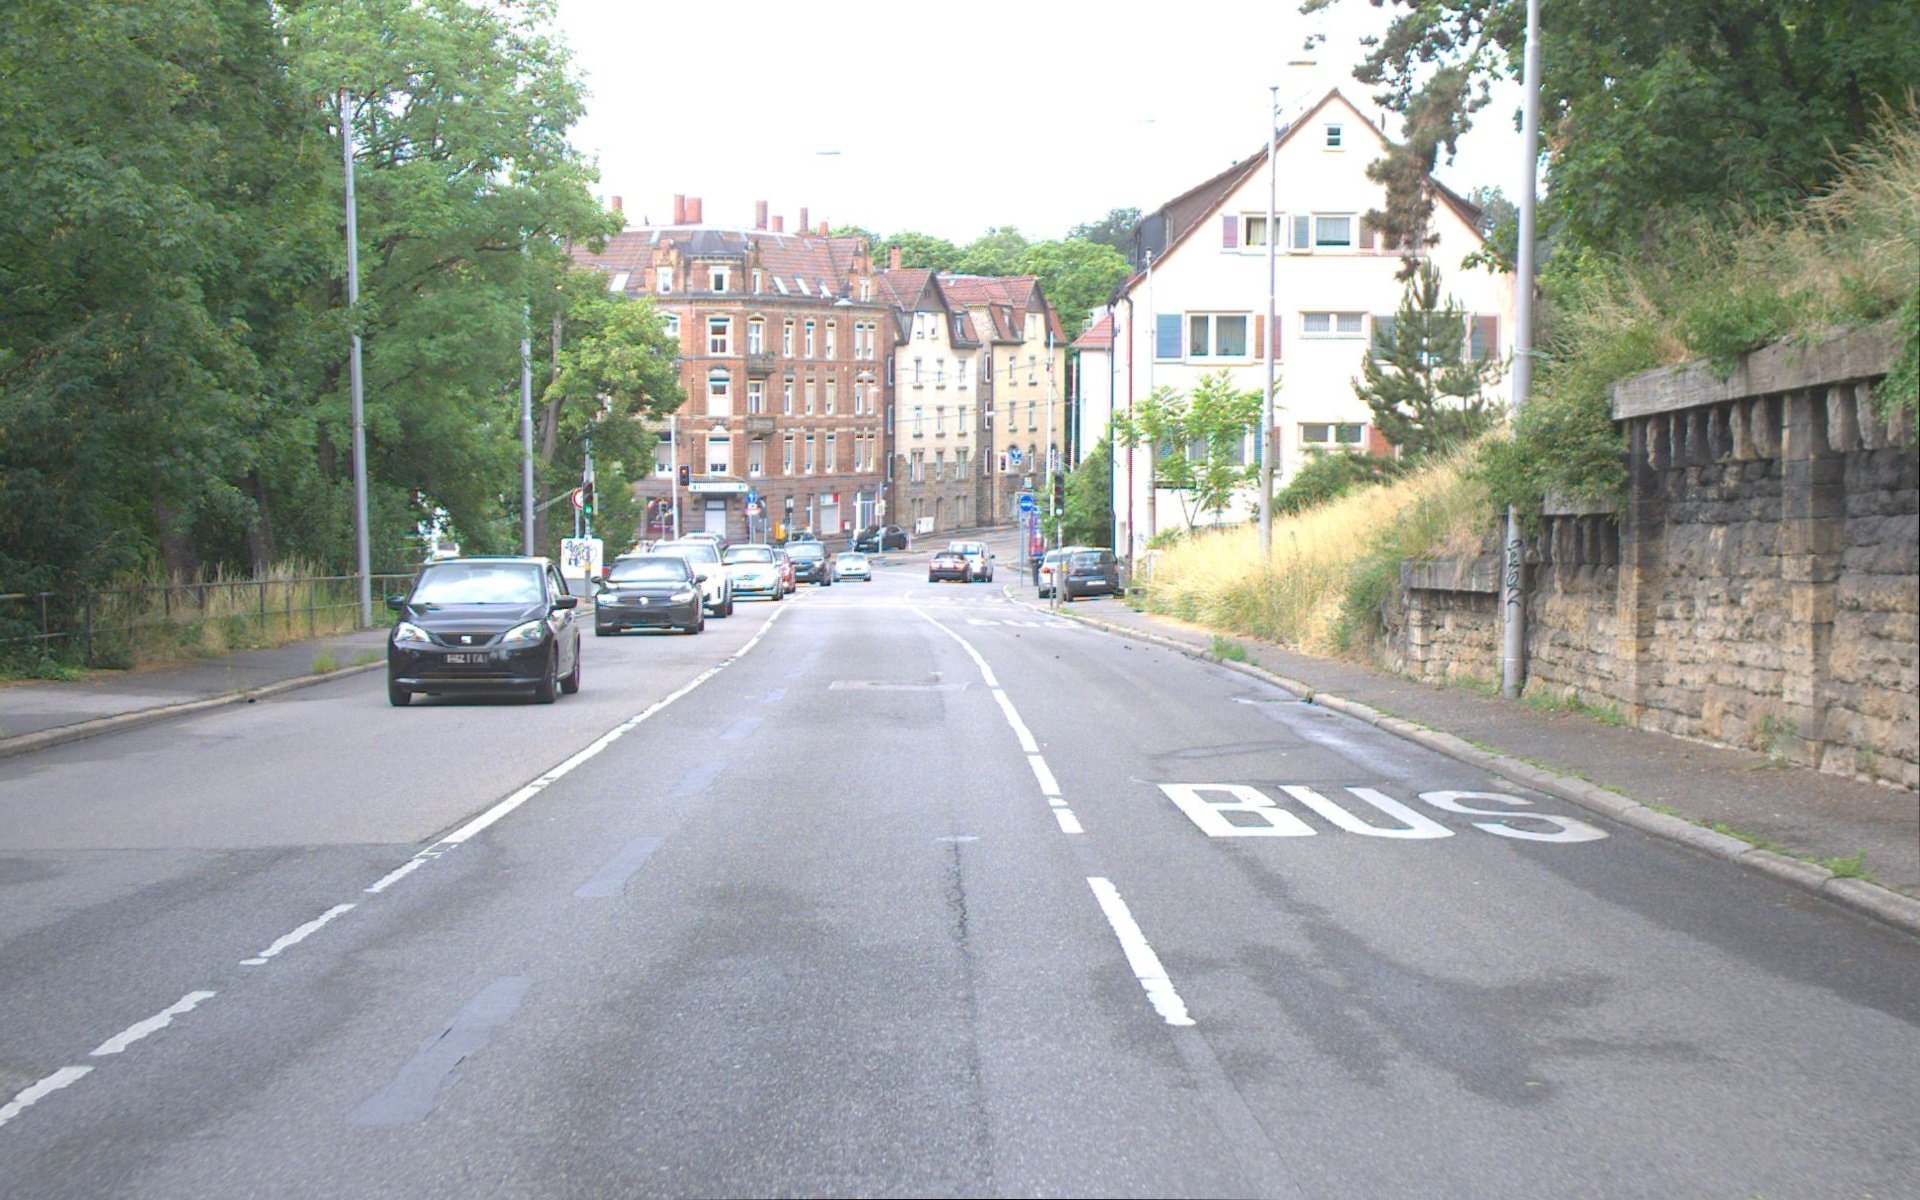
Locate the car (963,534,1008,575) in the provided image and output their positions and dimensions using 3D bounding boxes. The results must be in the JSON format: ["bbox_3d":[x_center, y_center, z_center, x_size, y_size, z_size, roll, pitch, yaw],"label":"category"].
[{"bbox_3d":[1.224,-2.163,163.470,1.909,1.877,4.000,1,0,3],"label":"car"}]

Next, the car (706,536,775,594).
[{"bbox_3d":[-6.188,-0.998,97.351,1.783,1.569,4.281,-1,1,-2],"label":"car"}]

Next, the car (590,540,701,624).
[{"bbox_3d":[-5.548,-0.335,60.972,1.712,1.422,4.139,-1,1,-2],"label":"car"}]

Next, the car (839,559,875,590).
[{"bbox_3d":[-5.026,-1.258,168.156,1.720,1.440,4.159,-1,1,-1],"label":"car"}]

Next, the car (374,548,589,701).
[{"bbox_3d":[-4.788,0.205,34.826,1.669,1.442,3.688,-1,1,0],"label":"car"}]

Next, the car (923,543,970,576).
[{"bbox_3d":[-0.599,-1.848,156.741,1.816,1.425,4.000,1,1,3],"label":"car"}]

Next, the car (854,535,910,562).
[{"bbox_3d":[-4.708,-3.127,208.110,1.983,1.569,4.371,-2,1,18],"label":"car"}]

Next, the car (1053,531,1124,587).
[{"bbox_3d":[3.577,-1.139,96.350,1.681,1.446,4.000,-4,0,-1],"label":"car"}]

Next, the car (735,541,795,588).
[{"bbox_3d":[-6.363,-1.167,112.602,1.783,1.454,4.429,-1,1,-2],"label":"car"}]

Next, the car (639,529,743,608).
[{"bbox_3d":[-5.977,-0.714,76.801,1.995,1.677,4.663,-1,1,-1],"label":"car"}]

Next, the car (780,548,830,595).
[{"bbox_3d":[-5.973,-1.101,132.949,1.783,1.740,4.429,-1,1,-1],"label":"car"}]

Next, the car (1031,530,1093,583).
[{"bbox_3d":[3.148,-1.353,105.356,1.794,1.446,4.718,-3,1,2],"label":"car"}]
